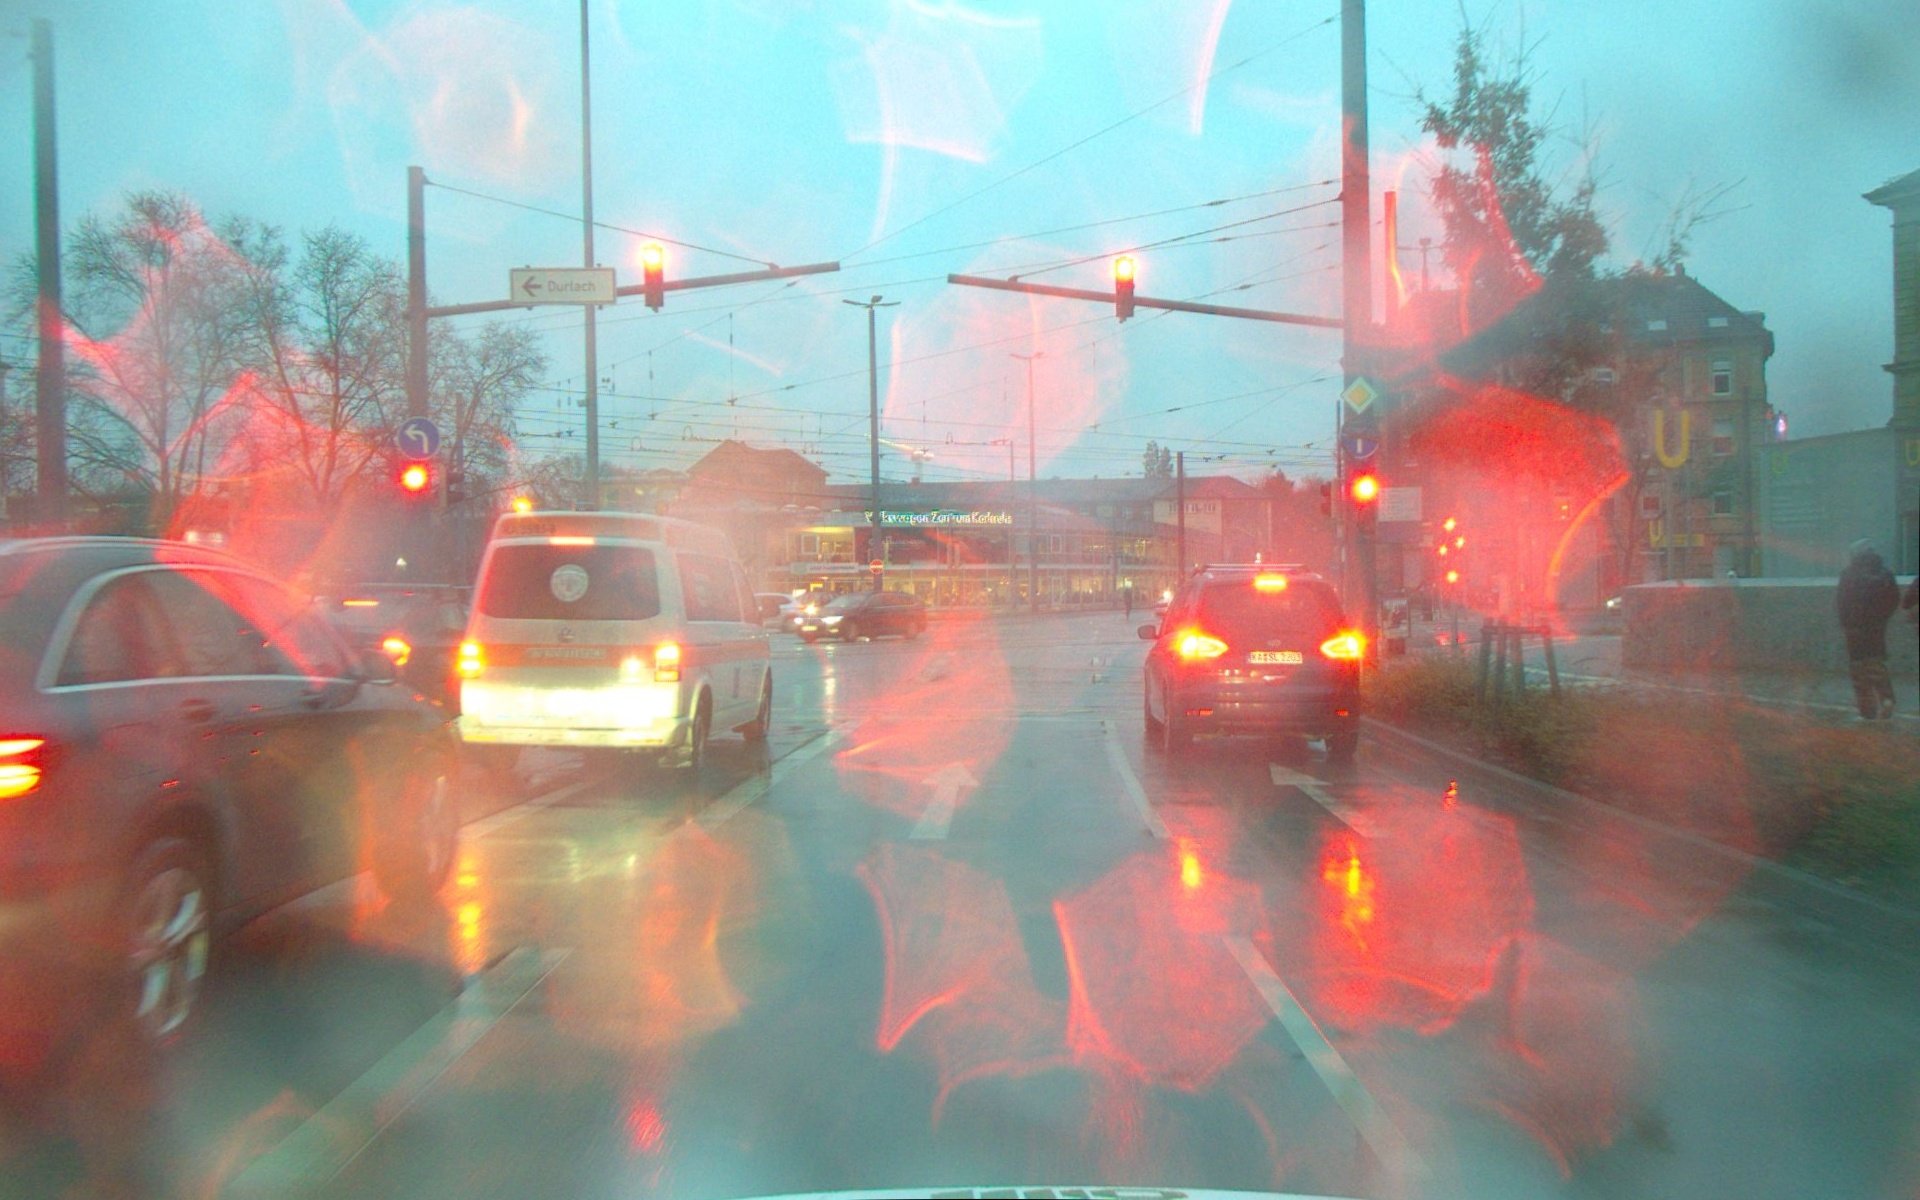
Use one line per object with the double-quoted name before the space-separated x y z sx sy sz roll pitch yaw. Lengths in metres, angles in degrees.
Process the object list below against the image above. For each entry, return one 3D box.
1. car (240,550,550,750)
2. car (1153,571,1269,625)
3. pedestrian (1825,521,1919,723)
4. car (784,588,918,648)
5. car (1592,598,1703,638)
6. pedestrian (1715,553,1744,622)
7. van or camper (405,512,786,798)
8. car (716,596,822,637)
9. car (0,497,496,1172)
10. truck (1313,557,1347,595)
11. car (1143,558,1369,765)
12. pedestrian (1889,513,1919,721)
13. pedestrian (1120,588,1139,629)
"car" -5.643 0.449 17.069 1.846 1.803 3.999 0 0 -1
"car" 10.163 -0.081 67.114 4.315 2.049 1.910 -1 0 -3
"pedestrian" 9.150 0.194 16.572 0.791 1.963 0.760 1 2 25
"car" -3.154 0.513 48.575 1.958 1.630 3.990 -1 0 32
"car" 31.341 0.810 75.415 4.725 1.686 1.731 -1 0 -19
"pedestrian" 22.415 -0.359 48.179 0.663 1.984 0.660 -1 0 30
"van or camper" -3.021 0.409 14.995 2.156 2.146 4.989 0 0 2
"car" -7.100 0.605 61.366 3.739 1.390 1.845 -1 0 -14
"car" -3.208 0.544 6.079 1.749 1.629 4.540 1 0 -1
"truck" 27.418 -1.755 122.471 1.952 2.738 5.118 -1 0 18
"car" 2.872 0.523 16.910 1.740 1.832 4.426 0 1 3
"pedestrian" 9.810 0.156 16.581 0.791 2.048 0.760 1 2 25
"pedestrian" 7.943 0.407 77.578 0.585 1.872 0.612 -1 0 -33
